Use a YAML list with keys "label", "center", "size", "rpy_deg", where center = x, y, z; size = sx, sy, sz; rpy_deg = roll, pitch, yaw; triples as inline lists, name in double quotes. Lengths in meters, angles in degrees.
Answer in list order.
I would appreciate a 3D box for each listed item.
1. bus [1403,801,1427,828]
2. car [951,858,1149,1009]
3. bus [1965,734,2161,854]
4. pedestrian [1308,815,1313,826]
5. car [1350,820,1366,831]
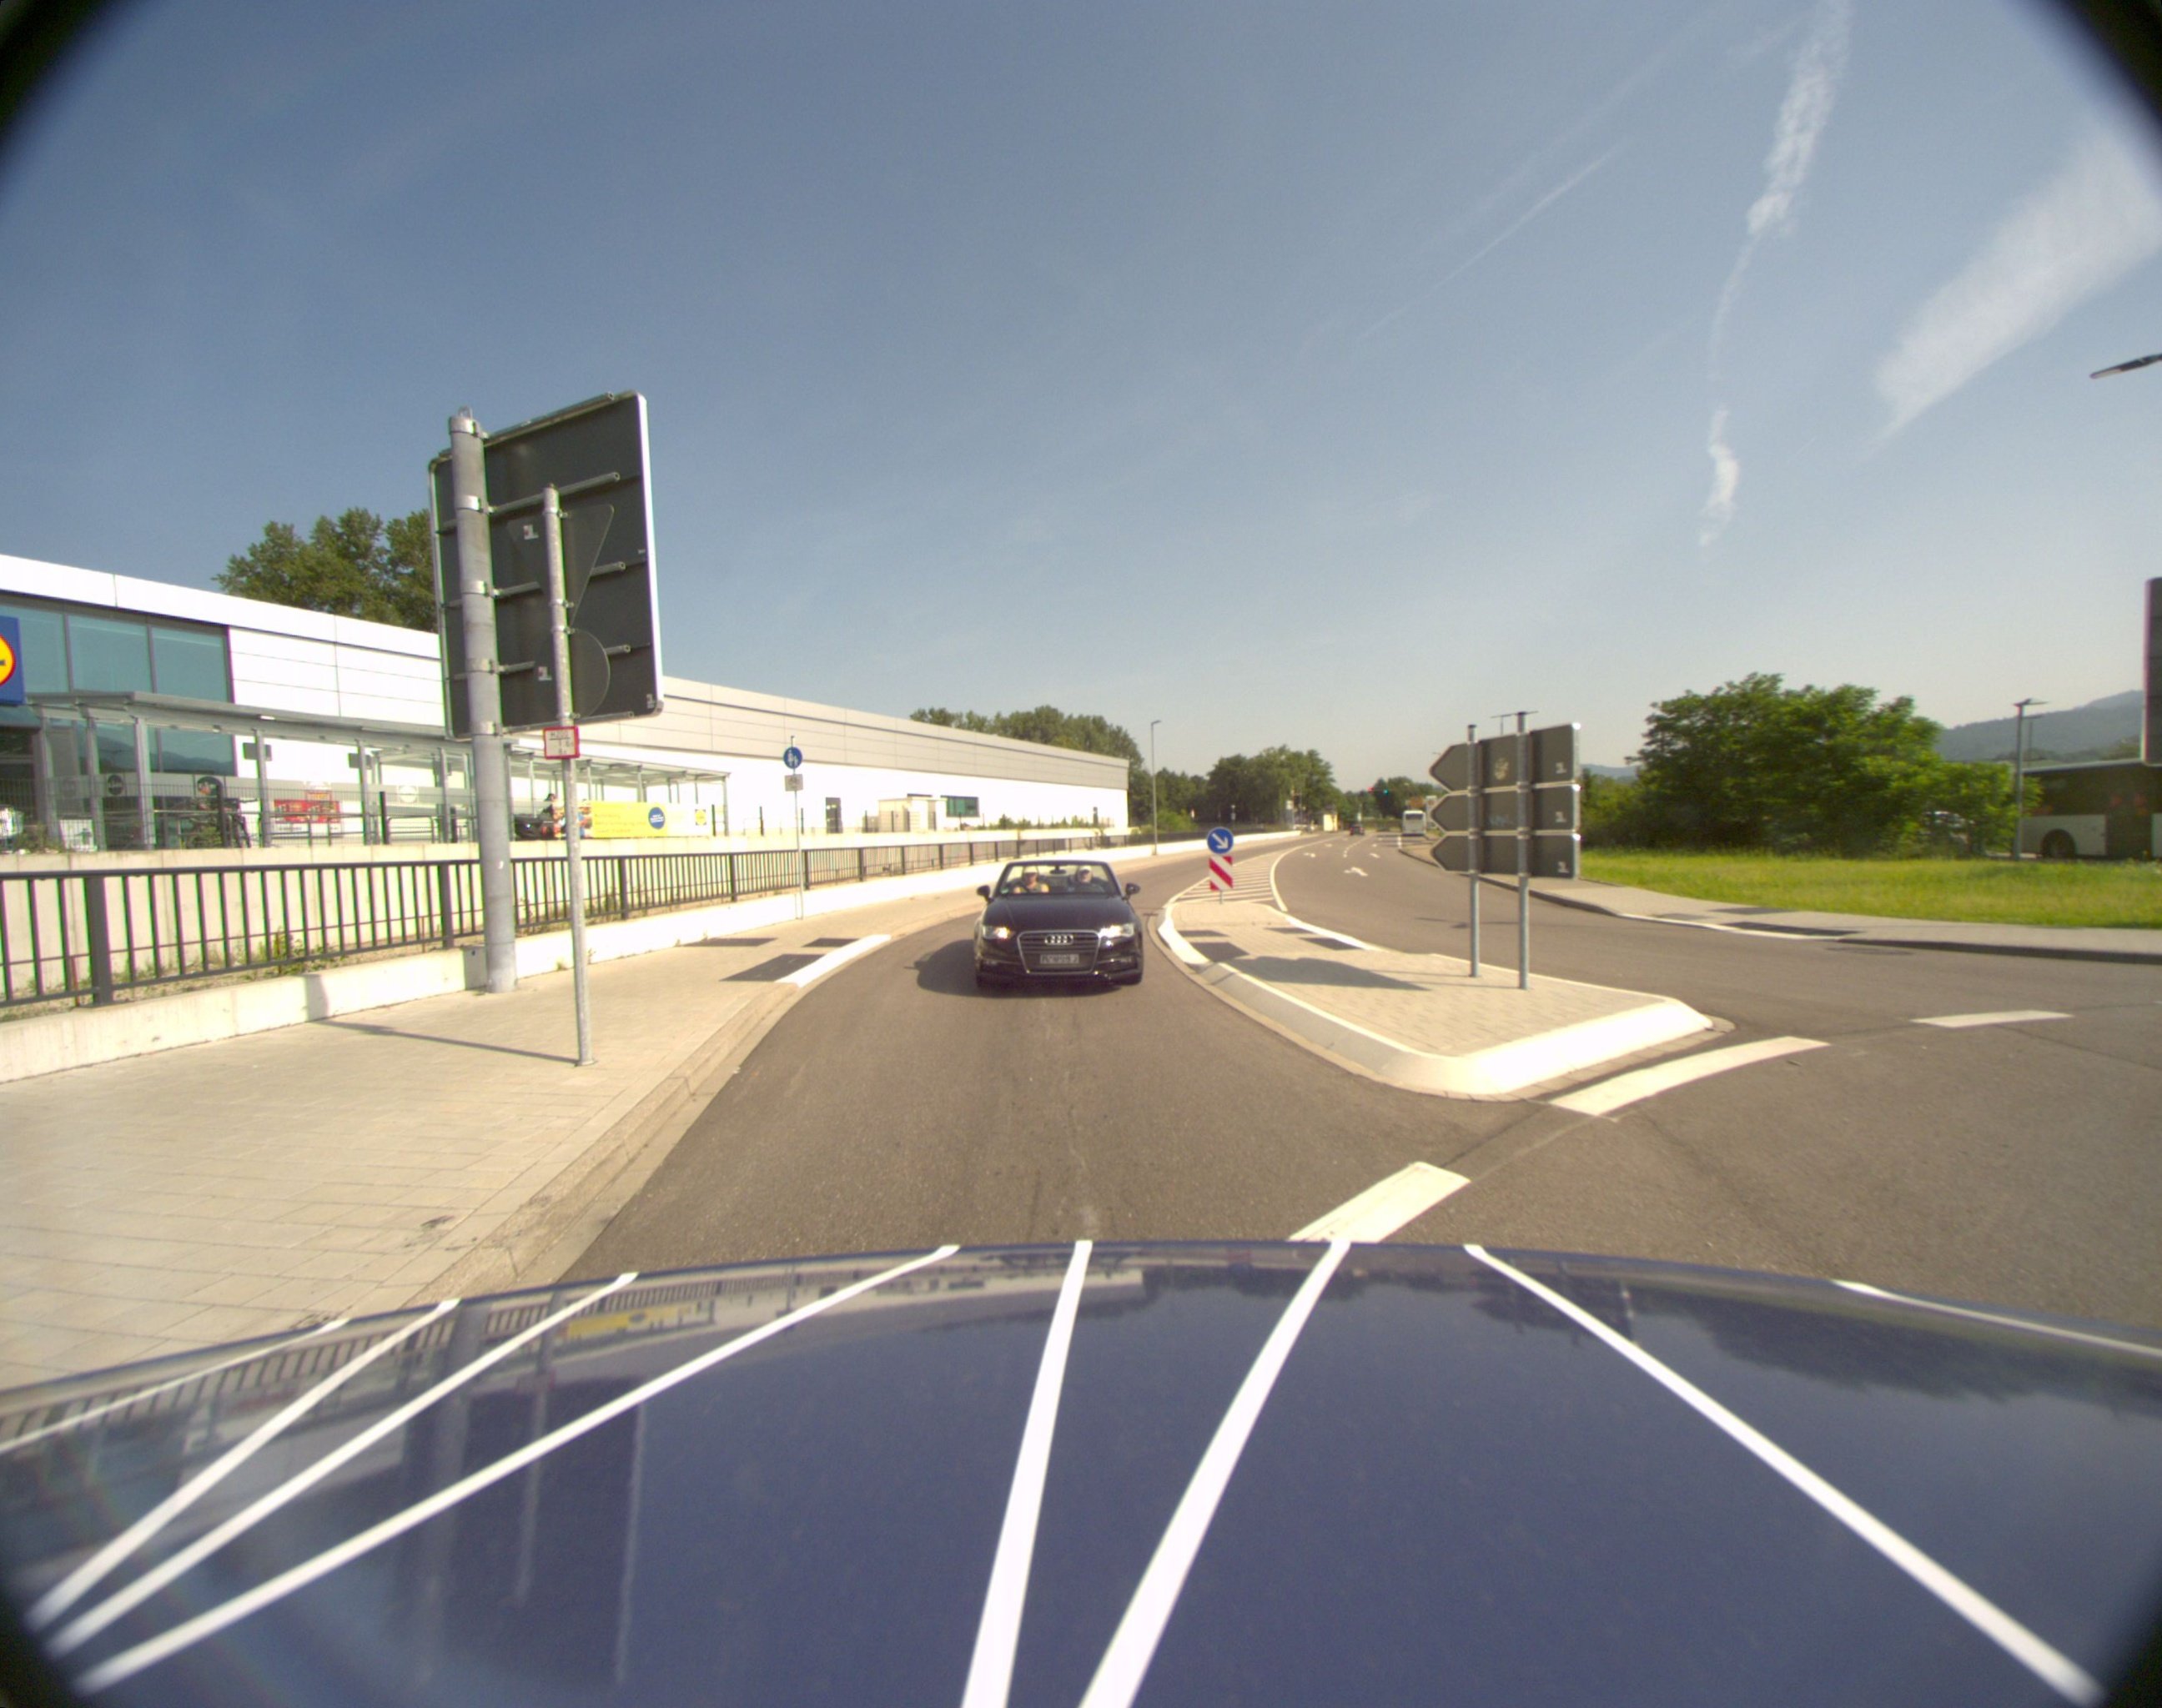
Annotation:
- label: "bus"
  center: [42.729, -5.086, 97.421]
  size: [2.623, 3.292, 11.970]
  rpy_deg: [0, 3, 23]
- label: "car"
  center: [-0.166, 0.783, 9.407]
  size: [1.868, 1.323, 4.232]
  rpy_deg: [-2, 1, 4]
- label: "bus"
  center: [29.705, -1.609, 19.825]
  size: [3.068, 3.106, 11.733]
  rpy_deg: [-1, 2, 19]
- label: "pedestrian"
  center: [34.318, -5.017, 113.712]
  size: [0.711, 1.662, 0.593]
  rpy_deg: [0, 3, 16]
- label: "car"
  center: [38.383, -3.989, 105.157]
  size: [1.774, 1.465, 4.225]
  rpy_deg: [0, 3, 24]
